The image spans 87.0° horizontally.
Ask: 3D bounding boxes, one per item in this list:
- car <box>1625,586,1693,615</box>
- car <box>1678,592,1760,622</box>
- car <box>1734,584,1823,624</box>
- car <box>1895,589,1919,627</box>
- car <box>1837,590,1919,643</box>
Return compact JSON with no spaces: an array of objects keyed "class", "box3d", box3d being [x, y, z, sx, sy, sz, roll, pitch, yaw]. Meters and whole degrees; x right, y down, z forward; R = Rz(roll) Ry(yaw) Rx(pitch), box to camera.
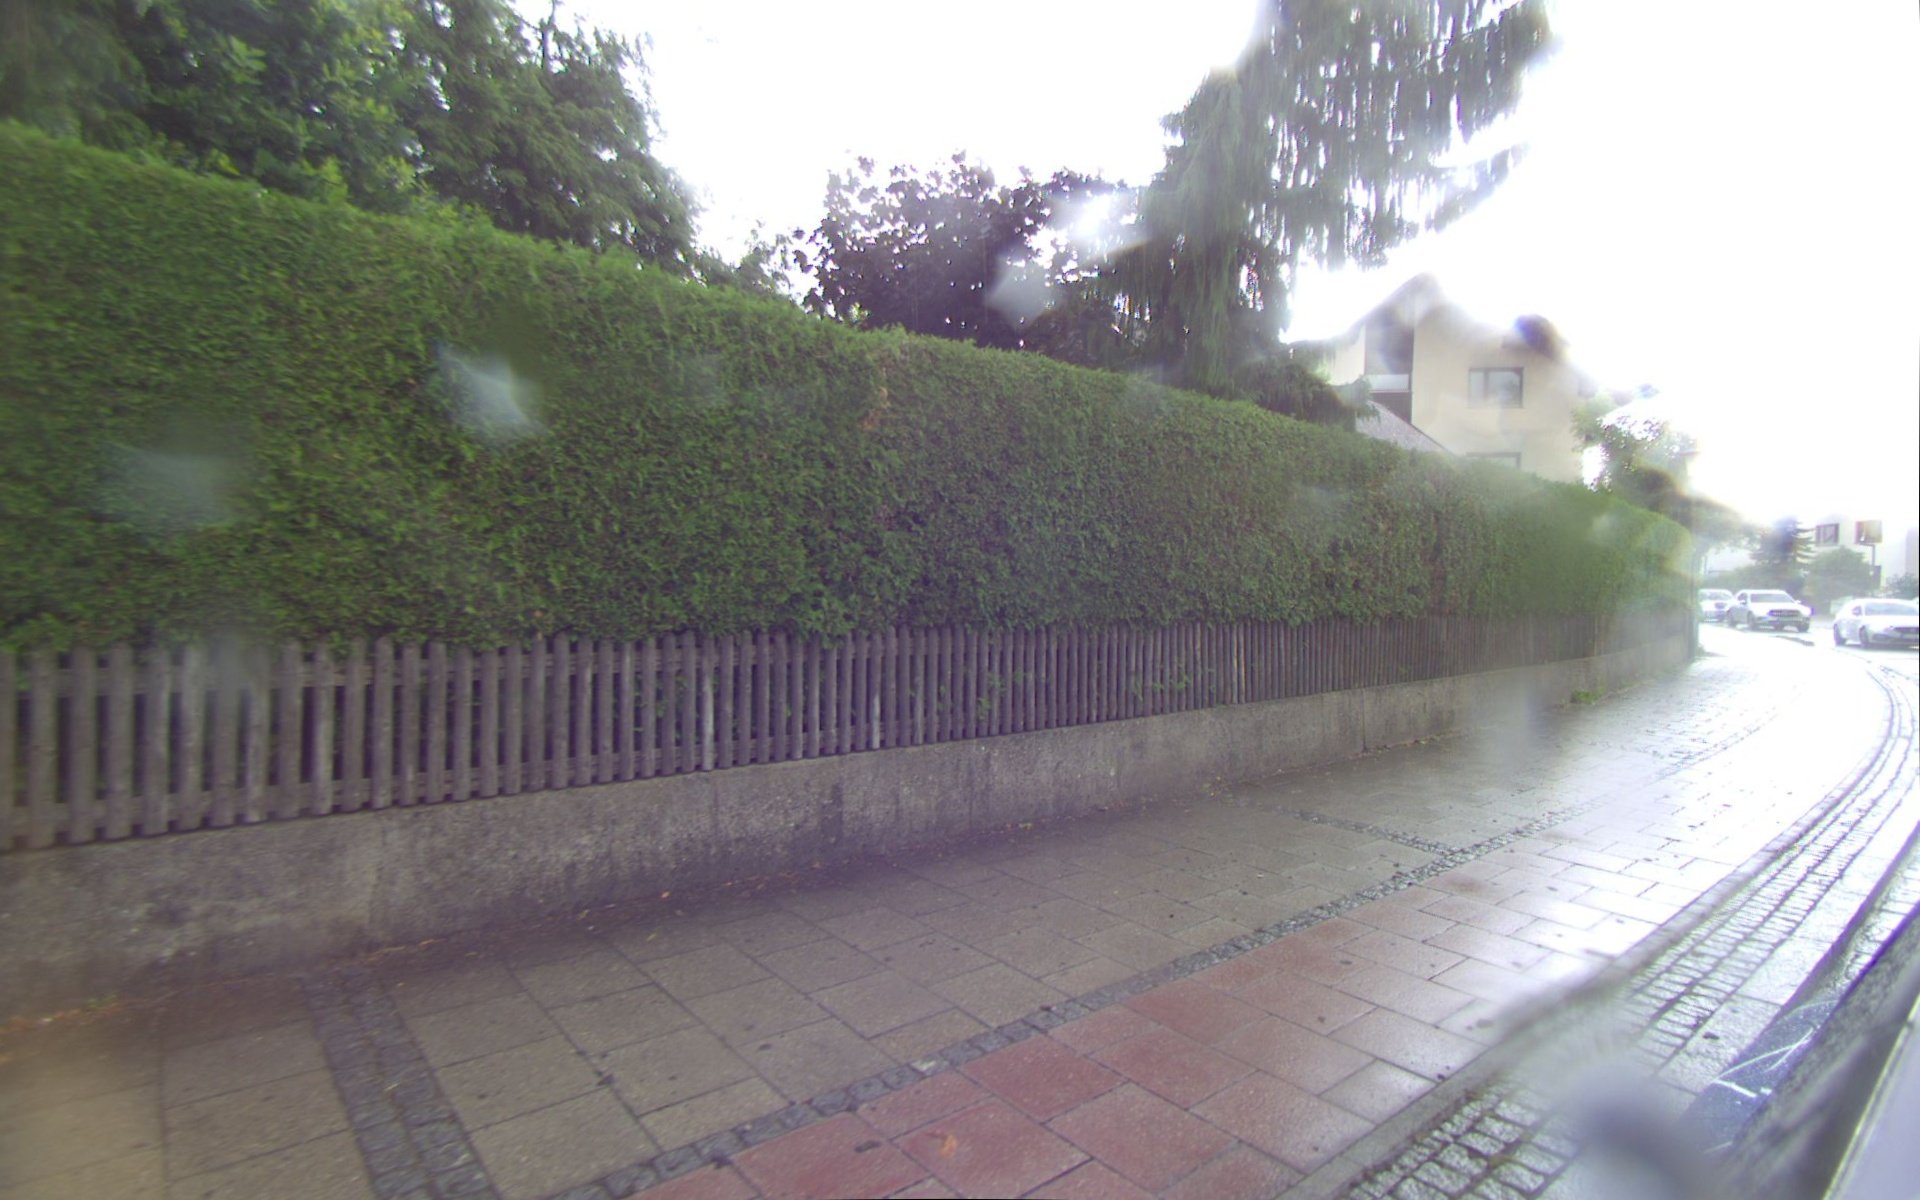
[{"class":"car","box3d":[38.939,0.012,56.499,1.770,1.568,4.260,-1,0,16]},{"class":"car","box3d":[37.020,0.304,49.490,1.770,1.391,4.260,-1,0,16]},{"class":"car","box3d":[33.486,0.144,41.531,1.776,1.568,4.246,-1,0,24]},{"class":"car","box3d":[38.036,0.301,38.877,1.701,1.460,3.972,-1,0,21]},{"class":"car","box3d":[27.567,0.451,29.687,1.777,1.412,4.241,-1,0,27]}]
